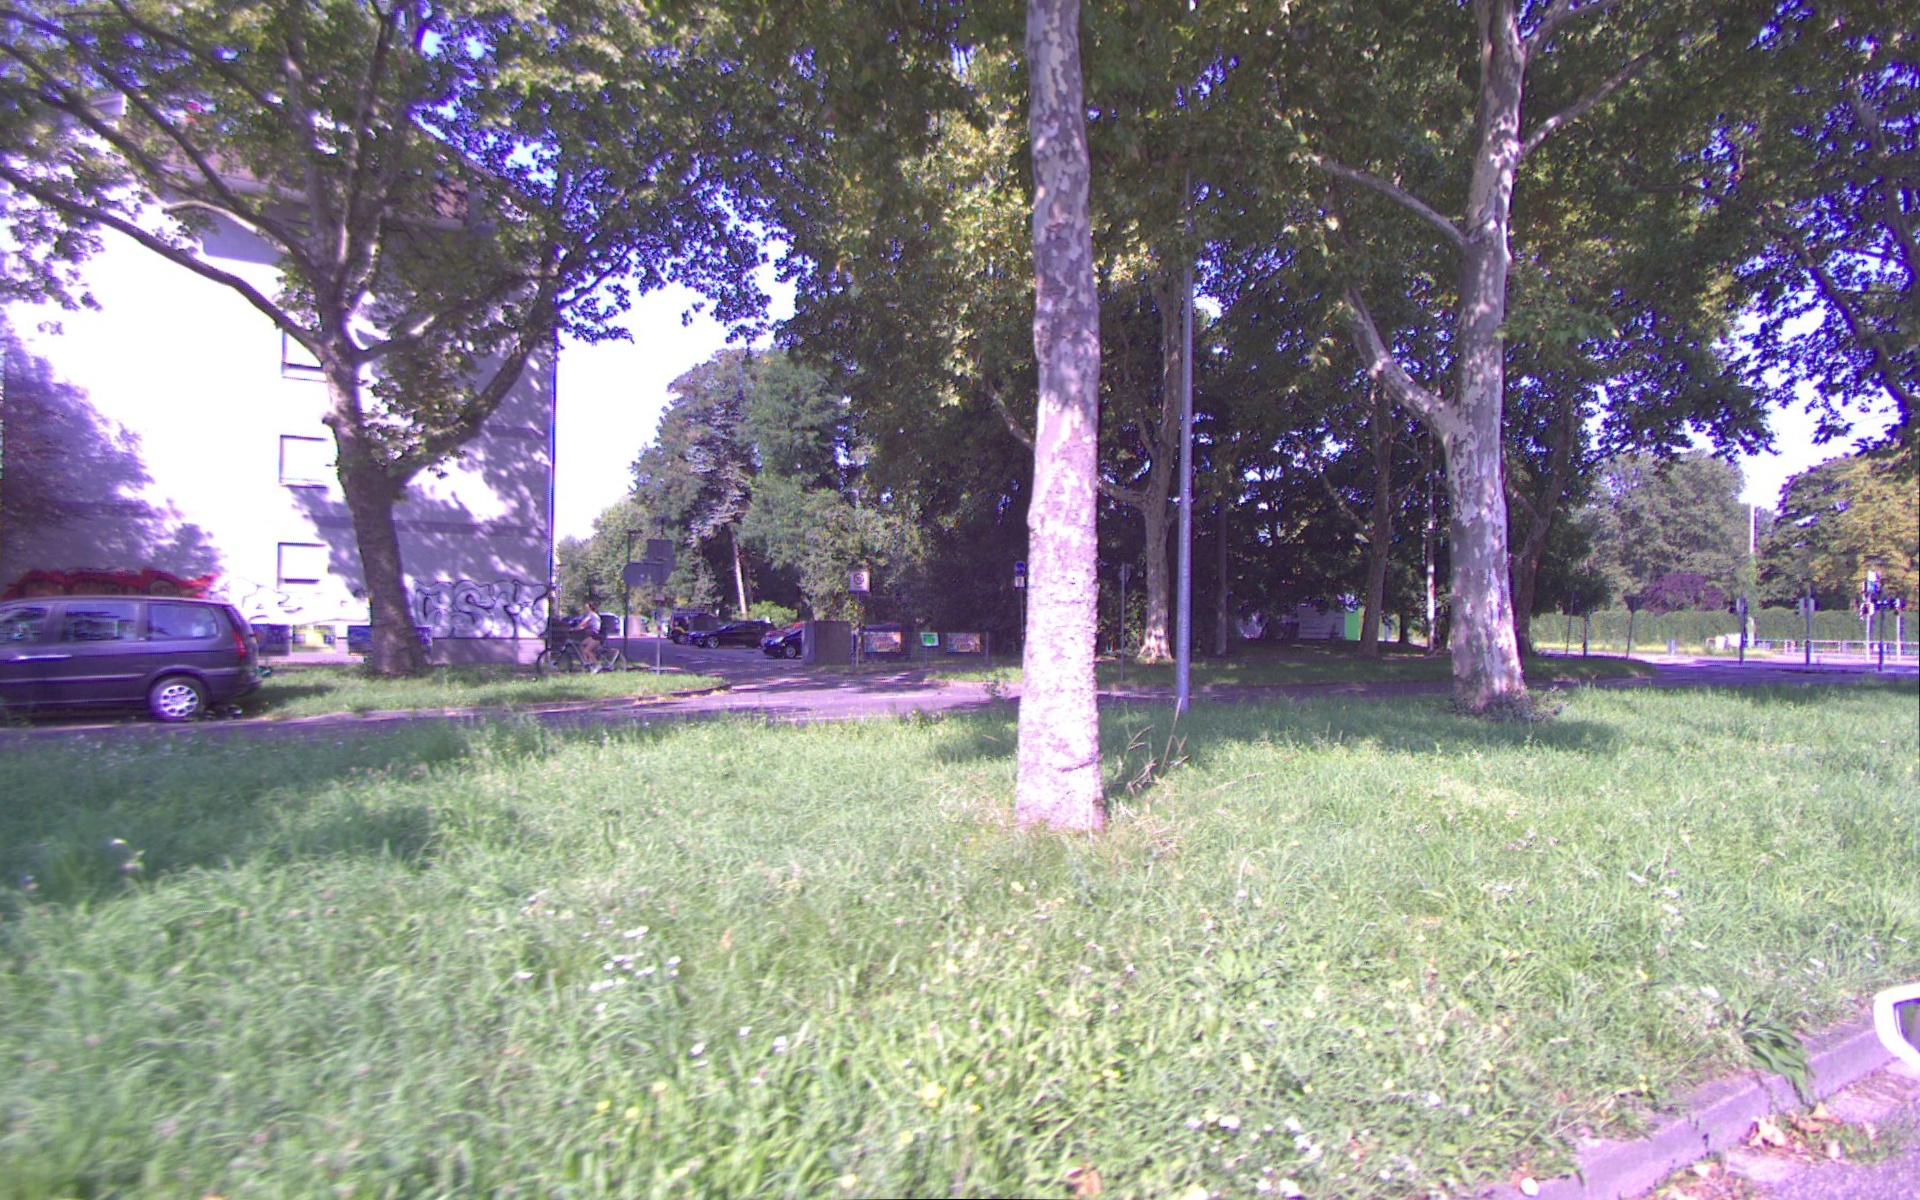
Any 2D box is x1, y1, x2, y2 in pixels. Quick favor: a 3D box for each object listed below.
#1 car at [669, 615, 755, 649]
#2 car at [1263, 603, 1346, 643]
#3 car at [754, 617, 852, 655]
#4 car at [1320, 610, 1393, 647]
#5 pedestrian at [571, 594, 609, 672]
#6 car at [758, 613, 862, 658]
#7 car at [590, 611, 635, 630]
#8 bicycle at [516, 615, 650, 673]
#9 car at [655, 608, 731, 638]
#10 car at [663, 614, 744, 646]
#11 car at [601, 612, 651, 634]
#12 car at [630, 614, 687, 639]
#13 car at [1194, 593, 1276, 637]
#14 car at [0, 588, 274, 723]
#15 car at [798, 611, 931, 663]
[{"bbox_3d":[-12.451,1.611,50.488,3.945,1.588,1.692,2,-1,-25],"label":"car"},{"bbox_3d":[19.599,1.334,57.050,4.663,2.165,2.164,2,-1,-35],"label":"car"},{"bbox_3d":[-6.943,1.595,44.422,3.945,1.588,1.692,2,-1,-25],"label":"car"},{"bbox_3d":[26.275,1.911,66.489,5.071,2.293,2.017,2,-1,-35],"label":"car"},{"bbox_3d":[-8.233,0.728,22.365,0.651,1.713,0.539,2,-1,-33],"label":"pedestrian"},{"bbox_3d":[-6.170,1.465,41.339,3.945,1.749,1.692,2,-1,-25],"label":"car"},{"bbox_3d":[-33.485,1.966,96.796,3.949,1.745,1.687,1,-1,-27],"label":"car"},{"bbox_3d":[-8.337,0.978,22.311,2.732,1.215,0.541,2,-1,-34],"label":"bicycle"},{"bbox_3d":[-15.149,1.305,57.027,3.945,1.588,1.692,2,-1,-25],"label":"car"},{"bbox_3d":[-13.721,1.615,53.704,3.945,1.588,1.692,2,-1,-25],"label":"car"},{"bbox_3d":[-29.877,2.079,89.868,3.950,1.745,1.687,3,-1,-27],"label":"car"},{"bbox_3d":[-23.165,2.036,77.185,3.950,1.744,1.687,3,-2,-27],"label":"car"},{"bbox_3d":[16.223,0.900,59.229,4.663,2.472,2.164,2,-1,-35],"label":"car"},{"bbox_3d":[-12.547,0.741,14.105,4.603,1.755,1.692,2,-1,-30],"label":"car"},{"bbox_3d":[-3.363,1.308,35.468,4.328,1.749,1.692,2,-1,-25],"label":"car"}]
